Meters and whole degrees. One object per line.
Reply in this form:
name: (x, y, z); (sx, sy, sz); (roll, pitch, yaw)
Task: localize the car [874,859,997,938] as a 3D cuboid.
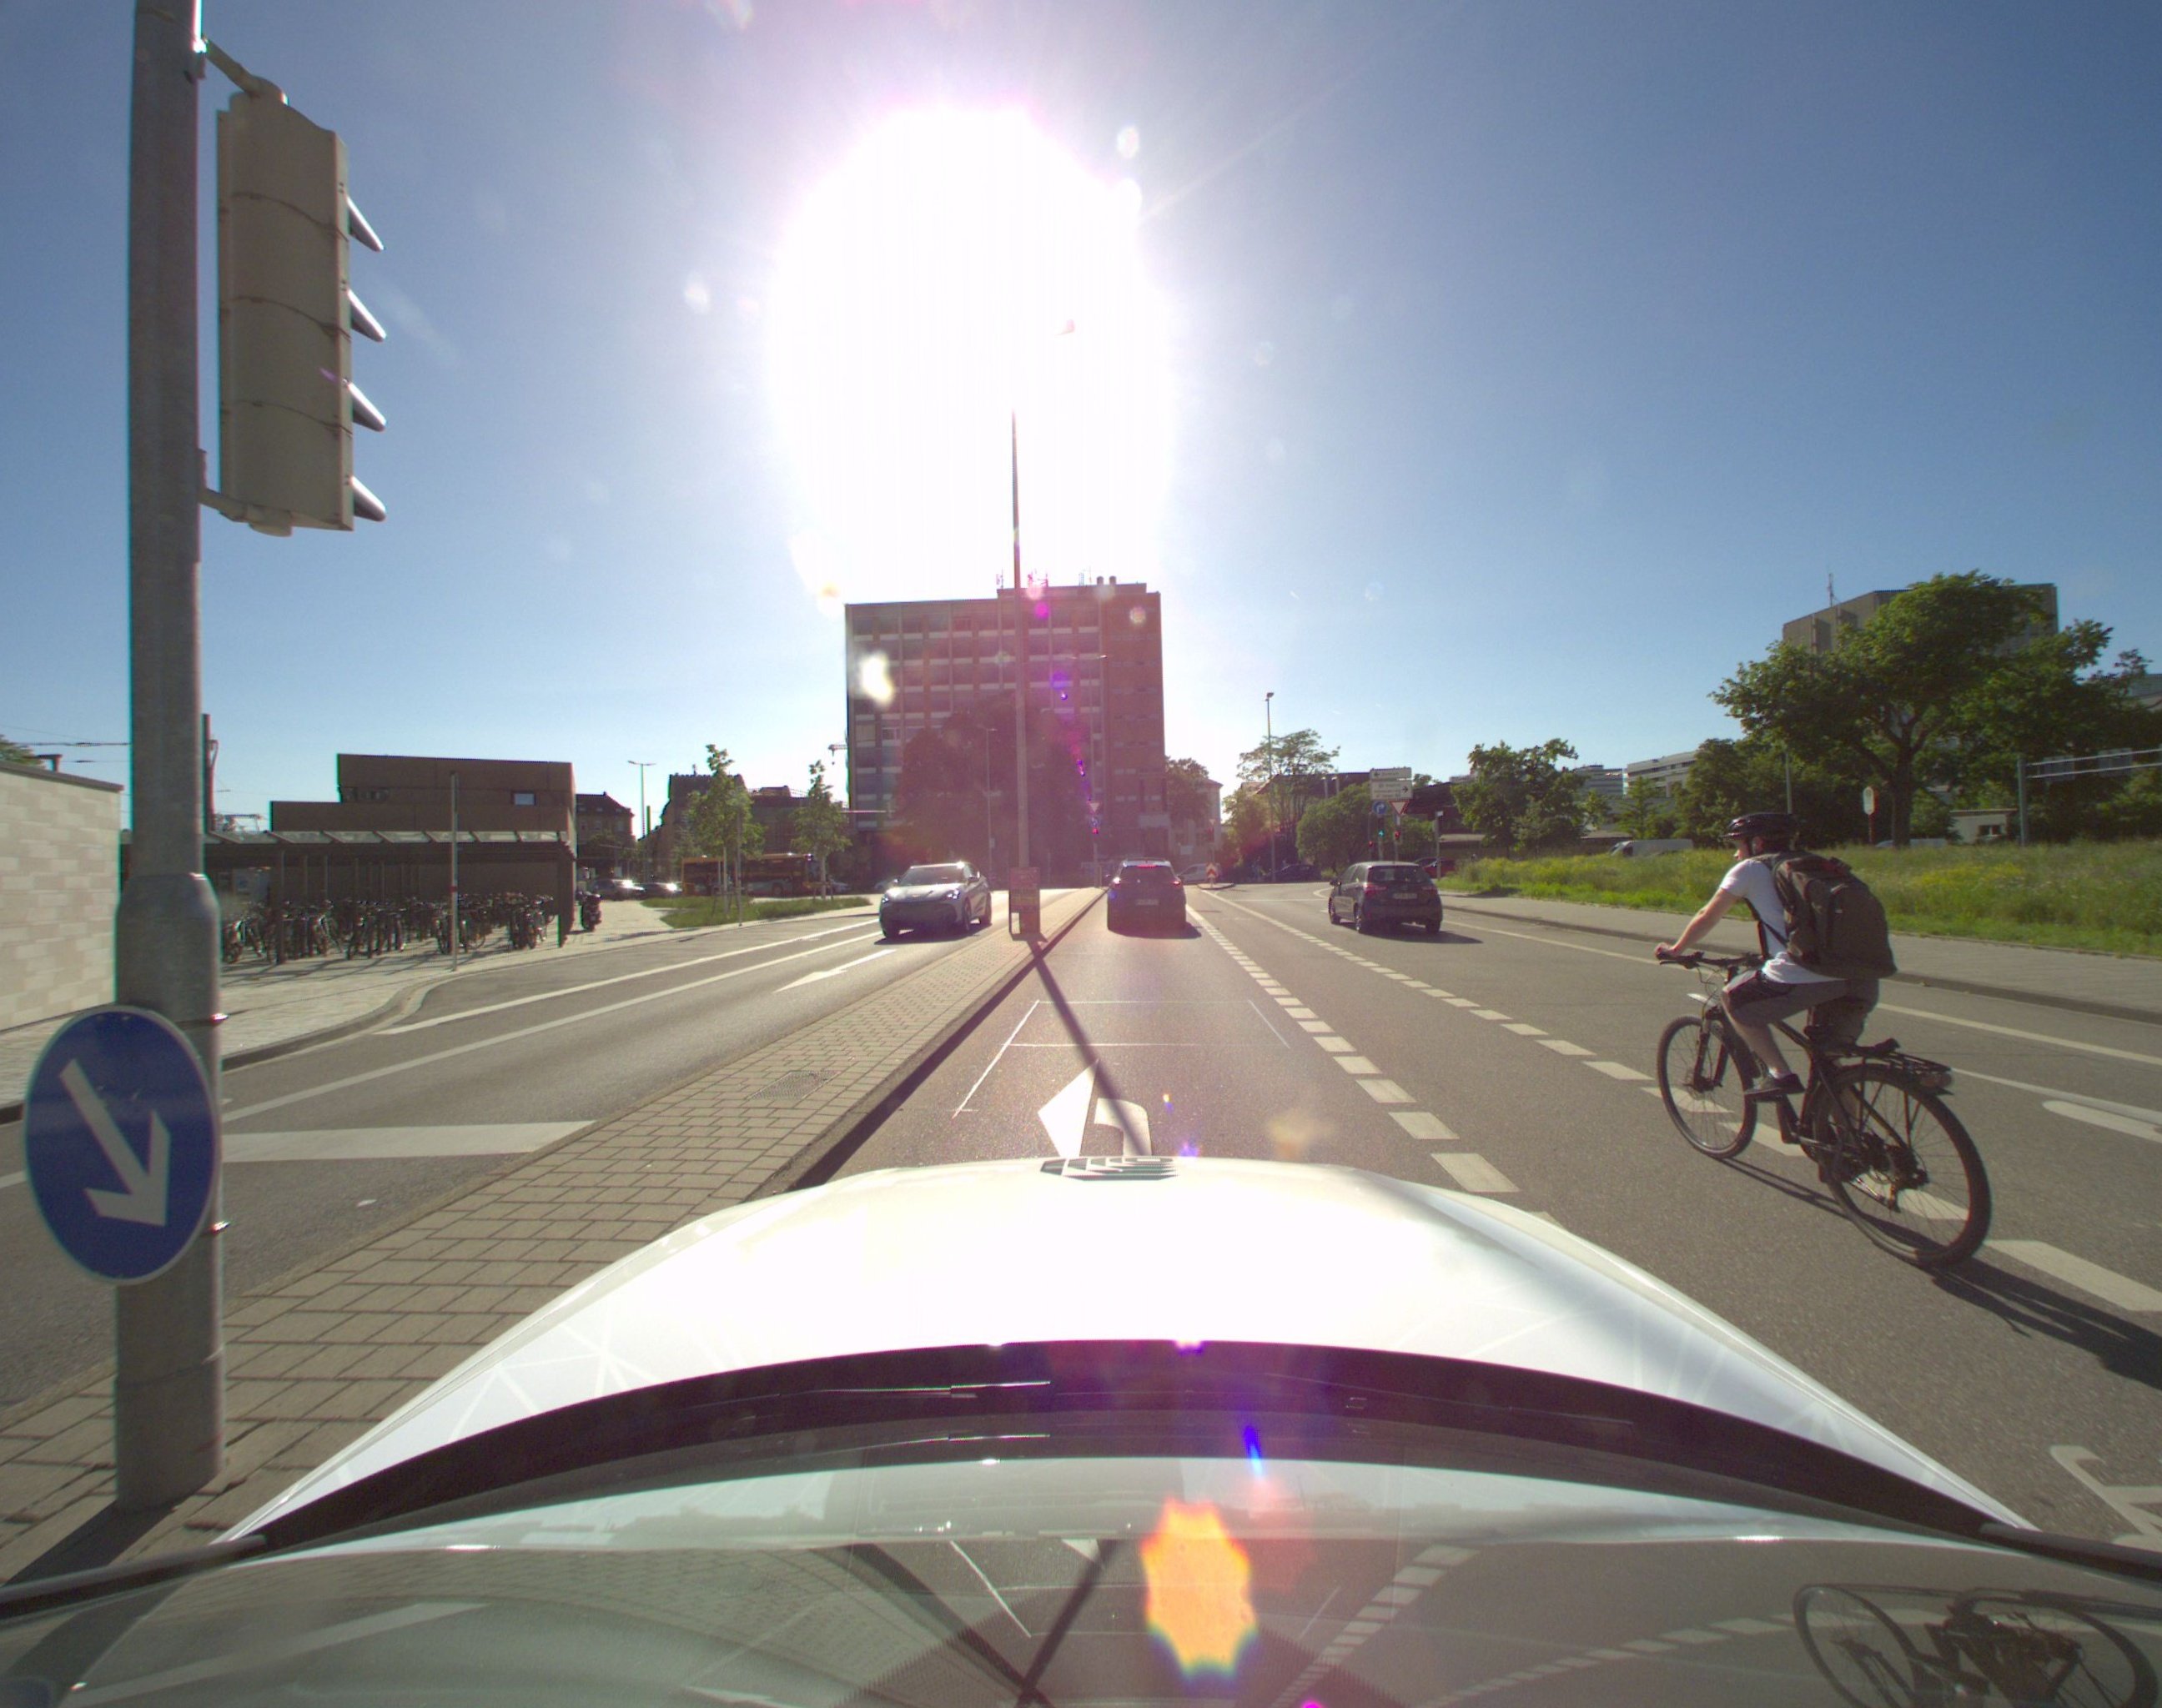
car: (-3.276, 0.950, 19.177); (1.810, 1.568, 4.253); (-3, -1, 3)

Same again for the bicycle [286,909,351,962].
bicycle: (-16.677, 1.761, 17.856); (0.584, 1.058, 1.799); (1, -3, -28)

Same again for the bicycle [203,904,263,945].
bicycle: (-24.424, 2.012, 23.495); (0.569, 1.093, 2.010); (1, -3, -28)

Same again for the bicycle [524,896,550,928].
bicycle: (-19.529, 2.065, 29.245); (0.584, 1.088, 1.854); (1, -3, -29)

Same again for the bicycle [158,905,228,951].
bicycle: (-23.018, 1.887, 21.152); (0.569, 1.093, 2.010); (1, -3, -28)

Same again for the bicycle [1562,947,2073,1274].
bicycle: (3.150, 1.010, 3.815); (0.720, 0.960, 1.884); (0, -1, 2)

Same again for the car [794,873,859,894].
car: (-19.205, 2.244, 61.417); (4.359, 1.522, 1.980); (-2, -3, 20)

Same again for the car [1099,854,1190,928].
car: (1.428, 0.855, 19.688); (1.818, 1.600, 3.656); (0, -1, -2)

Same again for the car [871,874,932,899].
car: (-15.088, 2.720, 68.542); (4.620, 2.014, 2.006); (-1, -3, 11)

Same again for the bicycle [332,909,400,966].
bicycle: (-14.647, 1.677, 16.725); (0.583, 1.058, 1.800); (0, -3, -26)

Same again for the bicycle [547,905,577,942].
bicycle: (-14.822, 1.960, 23.271); (0.584, 0.961, 2.039); (1, -3, -29)

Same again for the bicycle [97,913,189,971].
bicycle: (-18.819, 1.735, 16.378); (0.584, 1.058, 1.799); (1, -3, -28)

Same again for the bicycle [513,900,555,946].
bicycle: (-13.404, 1.656, 20.007); (0.583, 1.052, 1.955); (0, -3, -26)

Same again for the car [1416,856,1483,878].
car: (26.326, 0.960, 58.270); (3.961, 1.464, 2.006); (-2, -2, 11)

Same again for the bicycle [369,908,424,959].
bicycle: (-15.506, 1.767, 18.483); (0.584, 1.058, 1.799); (1, -3, -28)

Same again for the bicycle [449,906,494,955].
bicycle: (-14.433, 1.784, 19.315); (0.584, 1.058, 1.799); (1, -3, -28)

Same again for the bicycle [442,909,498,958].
bicycle: (-13.231, 1.693, 17.676); (0.583, 0.961, 2.040); (0, -3, -26)

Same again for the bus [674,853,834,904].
bus: (-24.095, 1.857, 59.770); (12.297, 3.396, 2.897); (-2, -3, 22)

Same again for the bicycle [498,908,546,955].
bicycle: (-12.459, 1.701, 18.184); (0.583, 0.961, 2.040); (0, -3, -26)

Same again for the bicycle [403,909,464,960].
bicycle: (-13.788, 1.691, 17.401); (0.583, 0.961, 2.040); (0, -3, -26)

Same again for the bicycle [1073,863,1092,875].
bicycle: (0.160, 1.384, 74.863); (1.678, 1.093, 0.604); (-1, -1, -33)

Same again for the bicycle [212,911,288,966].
bicycle: (-17.499, 1.747, 17.187); (0.584, 1.058, 1.799); (1, -3, -28)

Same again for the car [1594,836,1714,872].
car: (42.615, -0.005, 60.712); (7.115, 2.423, 2.078); (-2, -1, 7)

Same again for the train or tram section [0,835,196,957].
train or tram section: (-34.133, 1.368, 27.557); (2.890, 3.508, 10.436); (0, -2, -32)

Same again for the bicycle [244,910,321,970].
bicycle: (-15.782, 1.672, 16.145); (0.584, 1.058, 1.799); (1, -3, -28)

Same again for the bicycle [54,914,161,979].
bicycle: (-17.658, 1.649, 14.823); (0.584, 1.058, 1.799); (1, -3, -28)

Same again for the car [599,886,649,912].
car: (-36.892, 3.661, 65.743); (3.948, 2.014, 2.024); (-3, -3, 36)

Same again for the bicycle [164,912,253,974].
bicycle: (-16.580, 1.660, 15.530); (0.584, 1.058, 1.799); (1, -3, -28)

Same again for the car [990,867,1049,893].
car: (-5.002, 2.120, 66.203); (4.341, 2.014, 2.007); (-2, -3, 13)

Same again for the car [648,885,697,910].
car: (-34.280, 3.661, 68.332); (3.948, 2.014, 2.024); (-3, -3, 36)

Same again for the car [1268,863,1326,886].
car: (16.223, 1.559, 61.136); (4.084, 1.586, 1.887); (-2, -3, 15)

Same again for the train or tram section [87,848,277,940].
train or tram section: (-39.626, 1.687, 36.465); (2.890, 3.508, 10.436); (0, -2, -32)

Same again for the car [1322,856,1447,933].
car: (6.650, 0.871, 18.218); (1.747, 1.542, 3.664); (-1, -2, 6)

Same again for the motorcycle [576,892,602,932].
motorcycle: (-15.214, 1.780, 25.148); (0.555, 1.177, 1.900); (1, -3, -35)

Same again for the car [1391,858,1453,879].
car: (25.775, 1.122, 61.623); (3.961, 1.464, 2.006); (-2, -1, 11)

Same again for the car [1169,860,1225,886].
car: (9.458, 1.573, 66.527); (4.317, 2.014, 2.007); (-2, -3, 13)

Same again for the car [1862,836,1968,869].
car: (60.365, -0.104, 59.028); (5.059, 2.225, 2.079); (-2, -1, 9)
